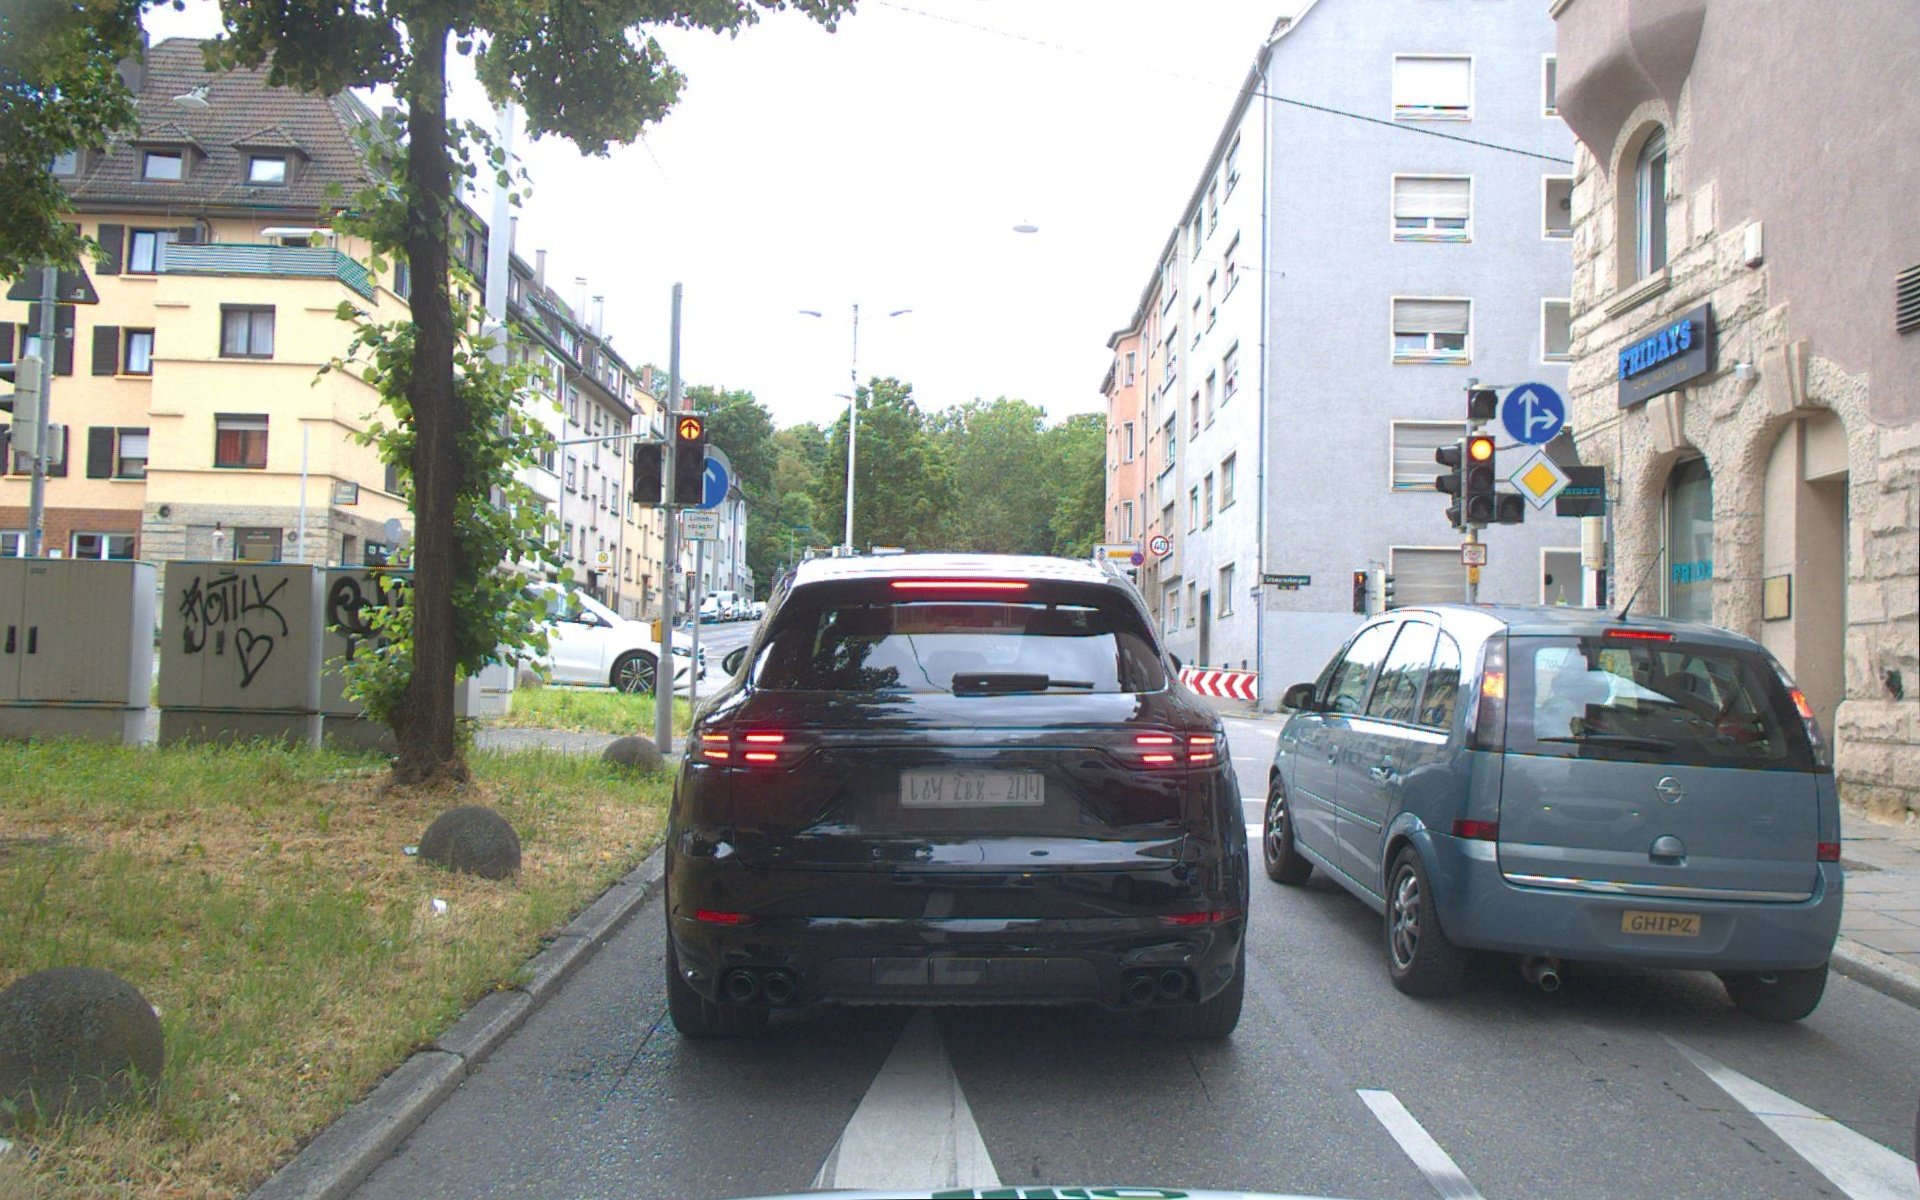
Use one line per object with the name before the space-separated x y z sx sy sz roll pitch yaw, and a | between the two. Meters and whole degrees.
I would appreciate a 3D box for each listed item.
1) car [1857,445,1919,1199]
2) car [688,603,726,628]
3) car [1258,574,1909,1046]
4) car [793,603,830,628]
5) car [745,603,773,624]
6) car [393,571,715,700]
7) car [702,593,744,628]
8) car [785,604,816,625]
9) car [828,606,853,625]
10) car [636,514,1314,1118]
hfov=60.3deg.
car | 2.905 0.660 1.045 1.936 1.806 4.674 4 0 -2
car | -15.068 0.897 98.669 1.703 1.411 3.813 1 0 0
car | 2.625 0.777 7.902 1.596 1.625 3.668 4 0 -1
car | -8.742 0.915 97.587 1.824 1.412 4.094 1 0 0
car | -15.155 1.014 124.602 1.655 1.565 3.813 1 0 0
car | -5.622 0.503 23.364 4.169 1.622 1.688 2 -1 -7
car | -14.877 0.654 104.058 1.975 2.081 4.666 1 0 0
car | -11.763 1.069 122.163 1.806 1.512 3.899 1 0 2
car | -10.507 1.355 145.516 1.933 1.638 4.557 1 0 -1
car | 0.019 0.619 6.692 1.916 1.704 3.999 0 0 -1
